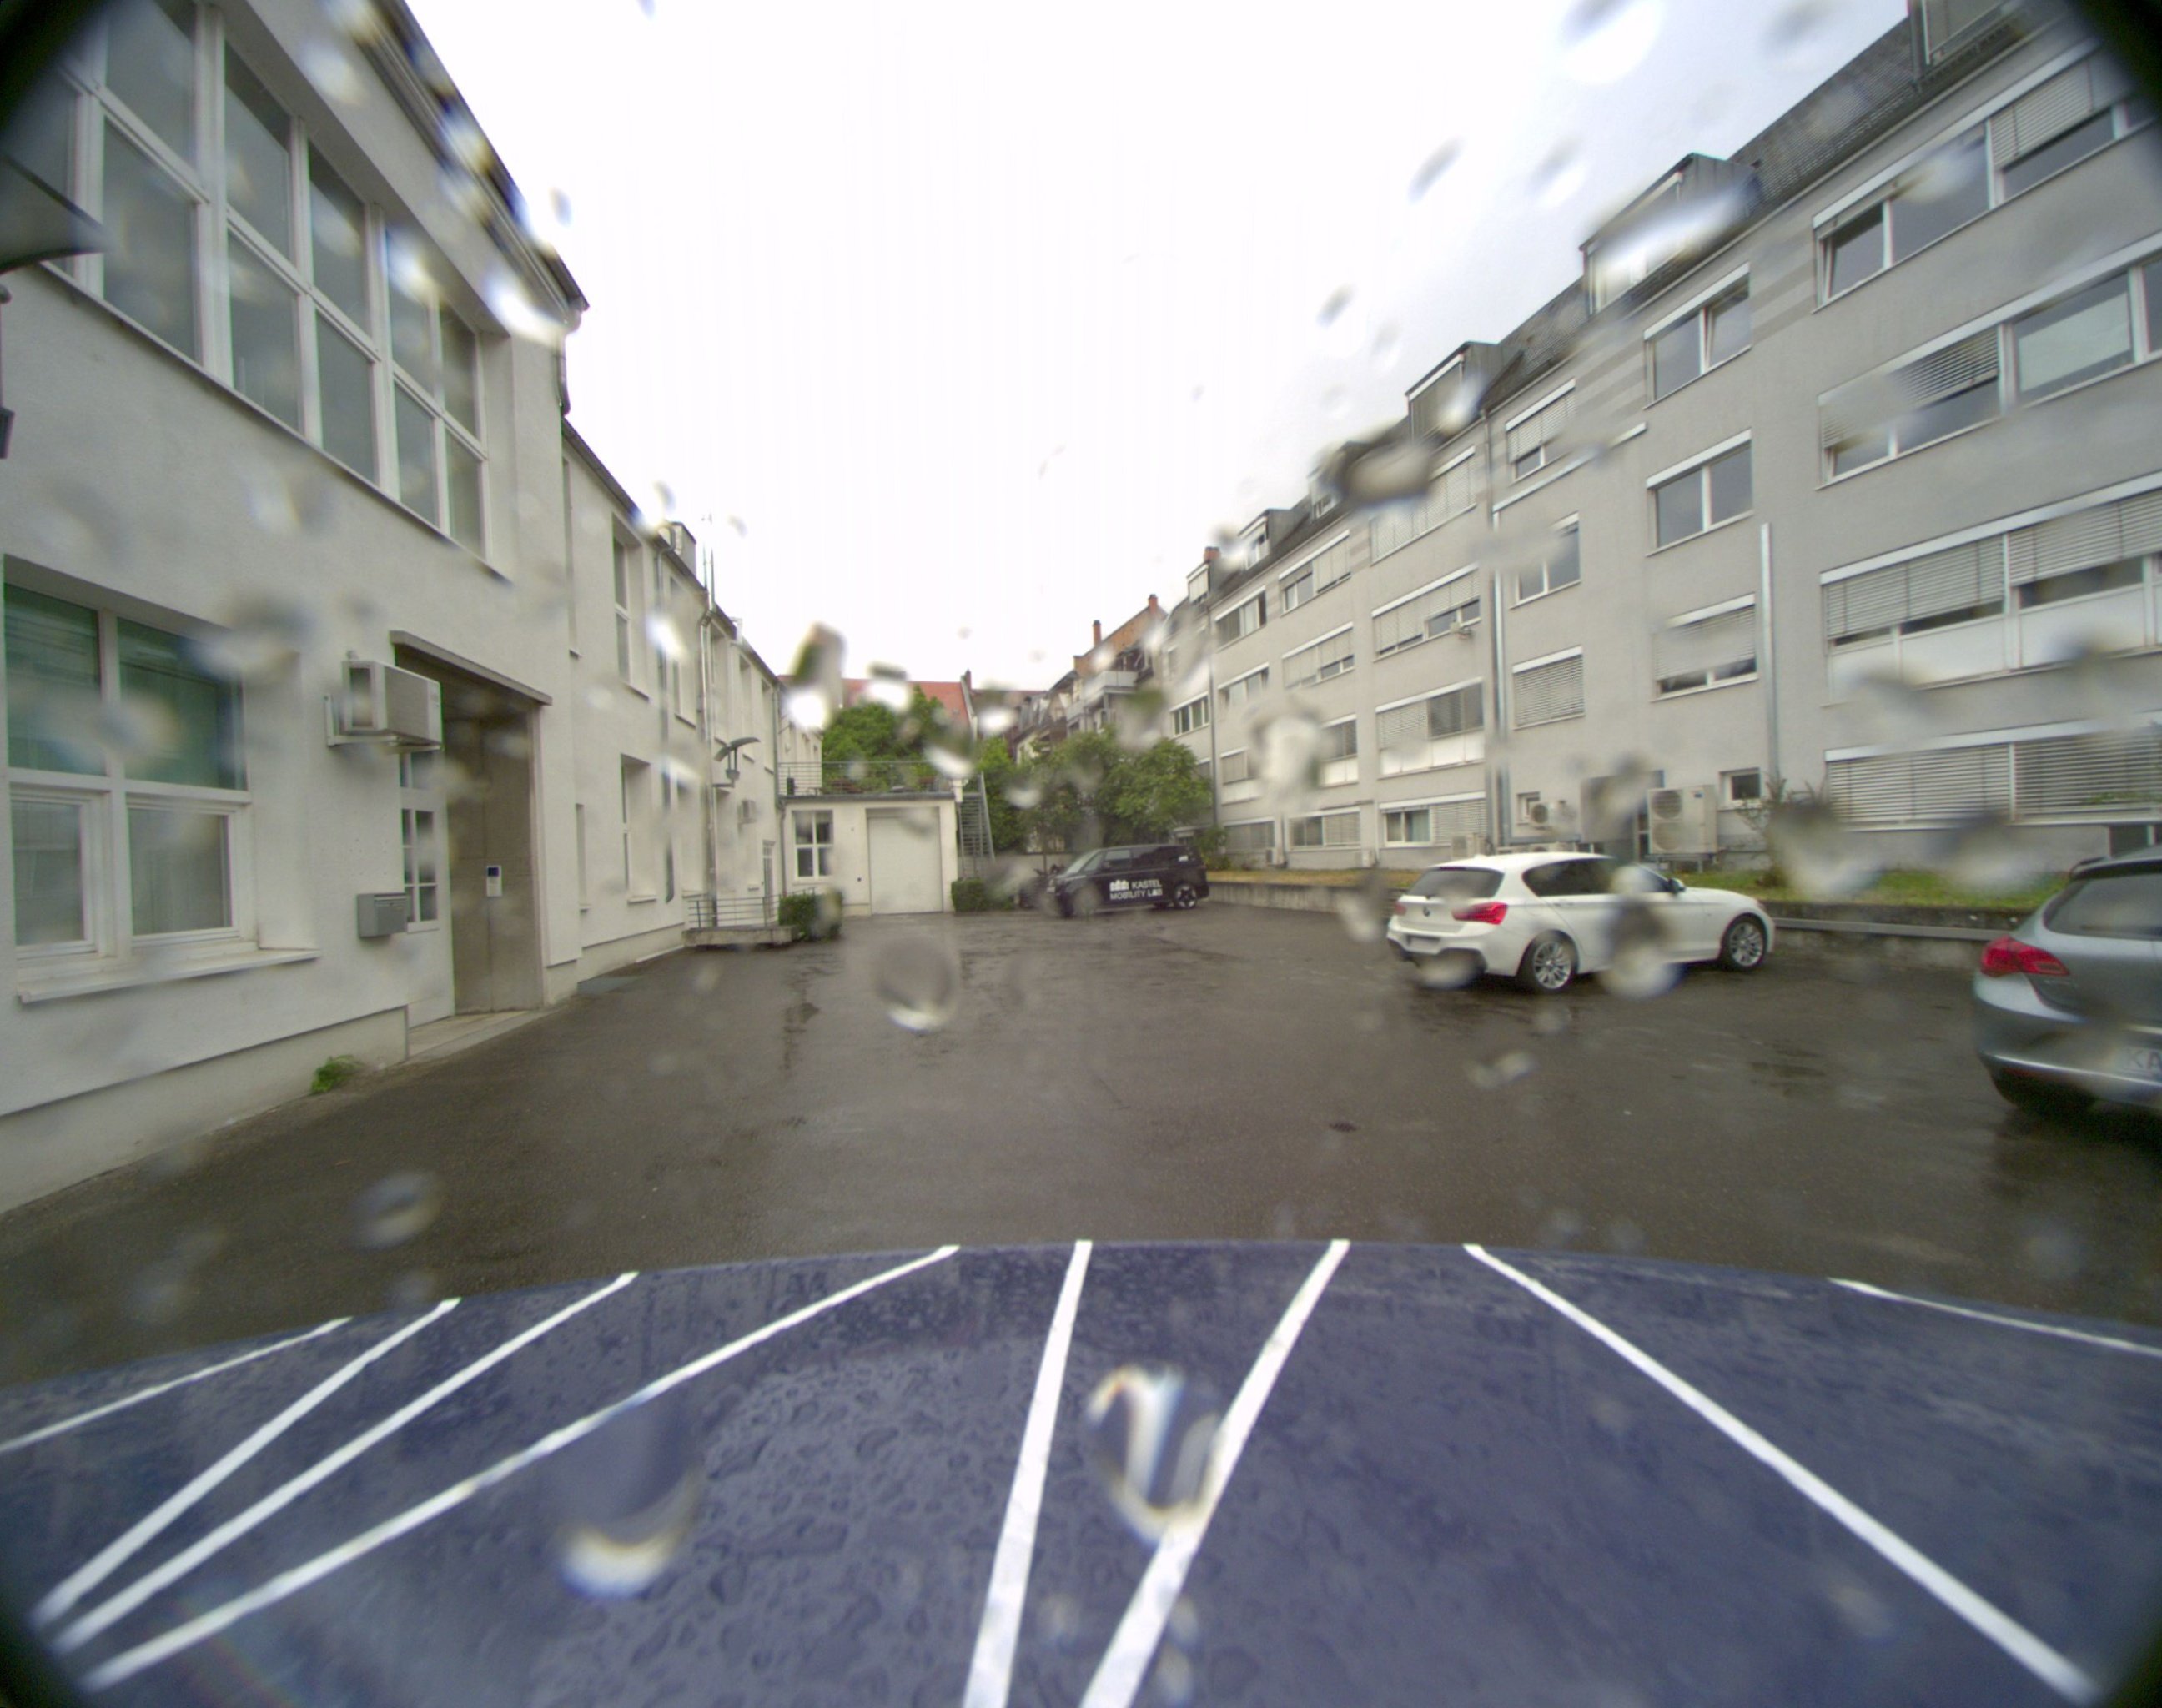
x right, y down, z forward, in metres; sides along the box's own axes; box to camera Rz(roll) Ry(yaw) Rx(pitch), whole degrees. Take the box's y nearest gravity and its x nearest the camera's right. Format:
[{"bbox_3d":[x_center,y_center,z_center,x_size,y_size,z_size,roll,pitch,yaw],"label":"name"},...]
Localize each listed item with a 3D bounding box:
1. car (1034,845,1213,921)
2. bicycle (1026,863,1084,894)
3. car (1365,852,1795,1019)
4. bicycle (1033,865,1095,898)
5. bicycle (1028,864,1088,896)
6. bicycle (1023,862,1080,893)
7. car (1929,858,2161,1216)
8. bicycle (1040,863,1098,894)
[{"bbox_3d":[1.203,0.790,21.808,4.634,1.825,1.986,-3,-1,-18],"label":"car"},{"bbox_3d":[-1.108,1.009,31.978,2.321,1.180,0.642,-2,3,-11],"label":"bicycle"},{"bbox_3d":[5.567,0.773,8.590,4.155,1.425,1.751,-2,1,-16],"label":"car"},{"bbox_3d":[-0.685,1.071,30.060,2.321,1.180,0.642,-2,3,-11],"label":"bicycle"},{"bbox_3d":[-0.918,1.049,30.826,2.321,1.180,0.642,-2,3,-11],"label":"bicycle"},{"bbox_3d":[-1.278,0.991,32.588,2.321,1.180,0.642,-2,3,-11],"label":"bicycle"},{"bbox_3d":[6.682,0.739,3.635,4.181,1.475,1.820,-2,-1,-16],"label":"car"},{"bbox_3d":[-0.504,1.005,31.583,2.321,1.180,0.642,-2,3,-11],"label":"bicycle"}]
